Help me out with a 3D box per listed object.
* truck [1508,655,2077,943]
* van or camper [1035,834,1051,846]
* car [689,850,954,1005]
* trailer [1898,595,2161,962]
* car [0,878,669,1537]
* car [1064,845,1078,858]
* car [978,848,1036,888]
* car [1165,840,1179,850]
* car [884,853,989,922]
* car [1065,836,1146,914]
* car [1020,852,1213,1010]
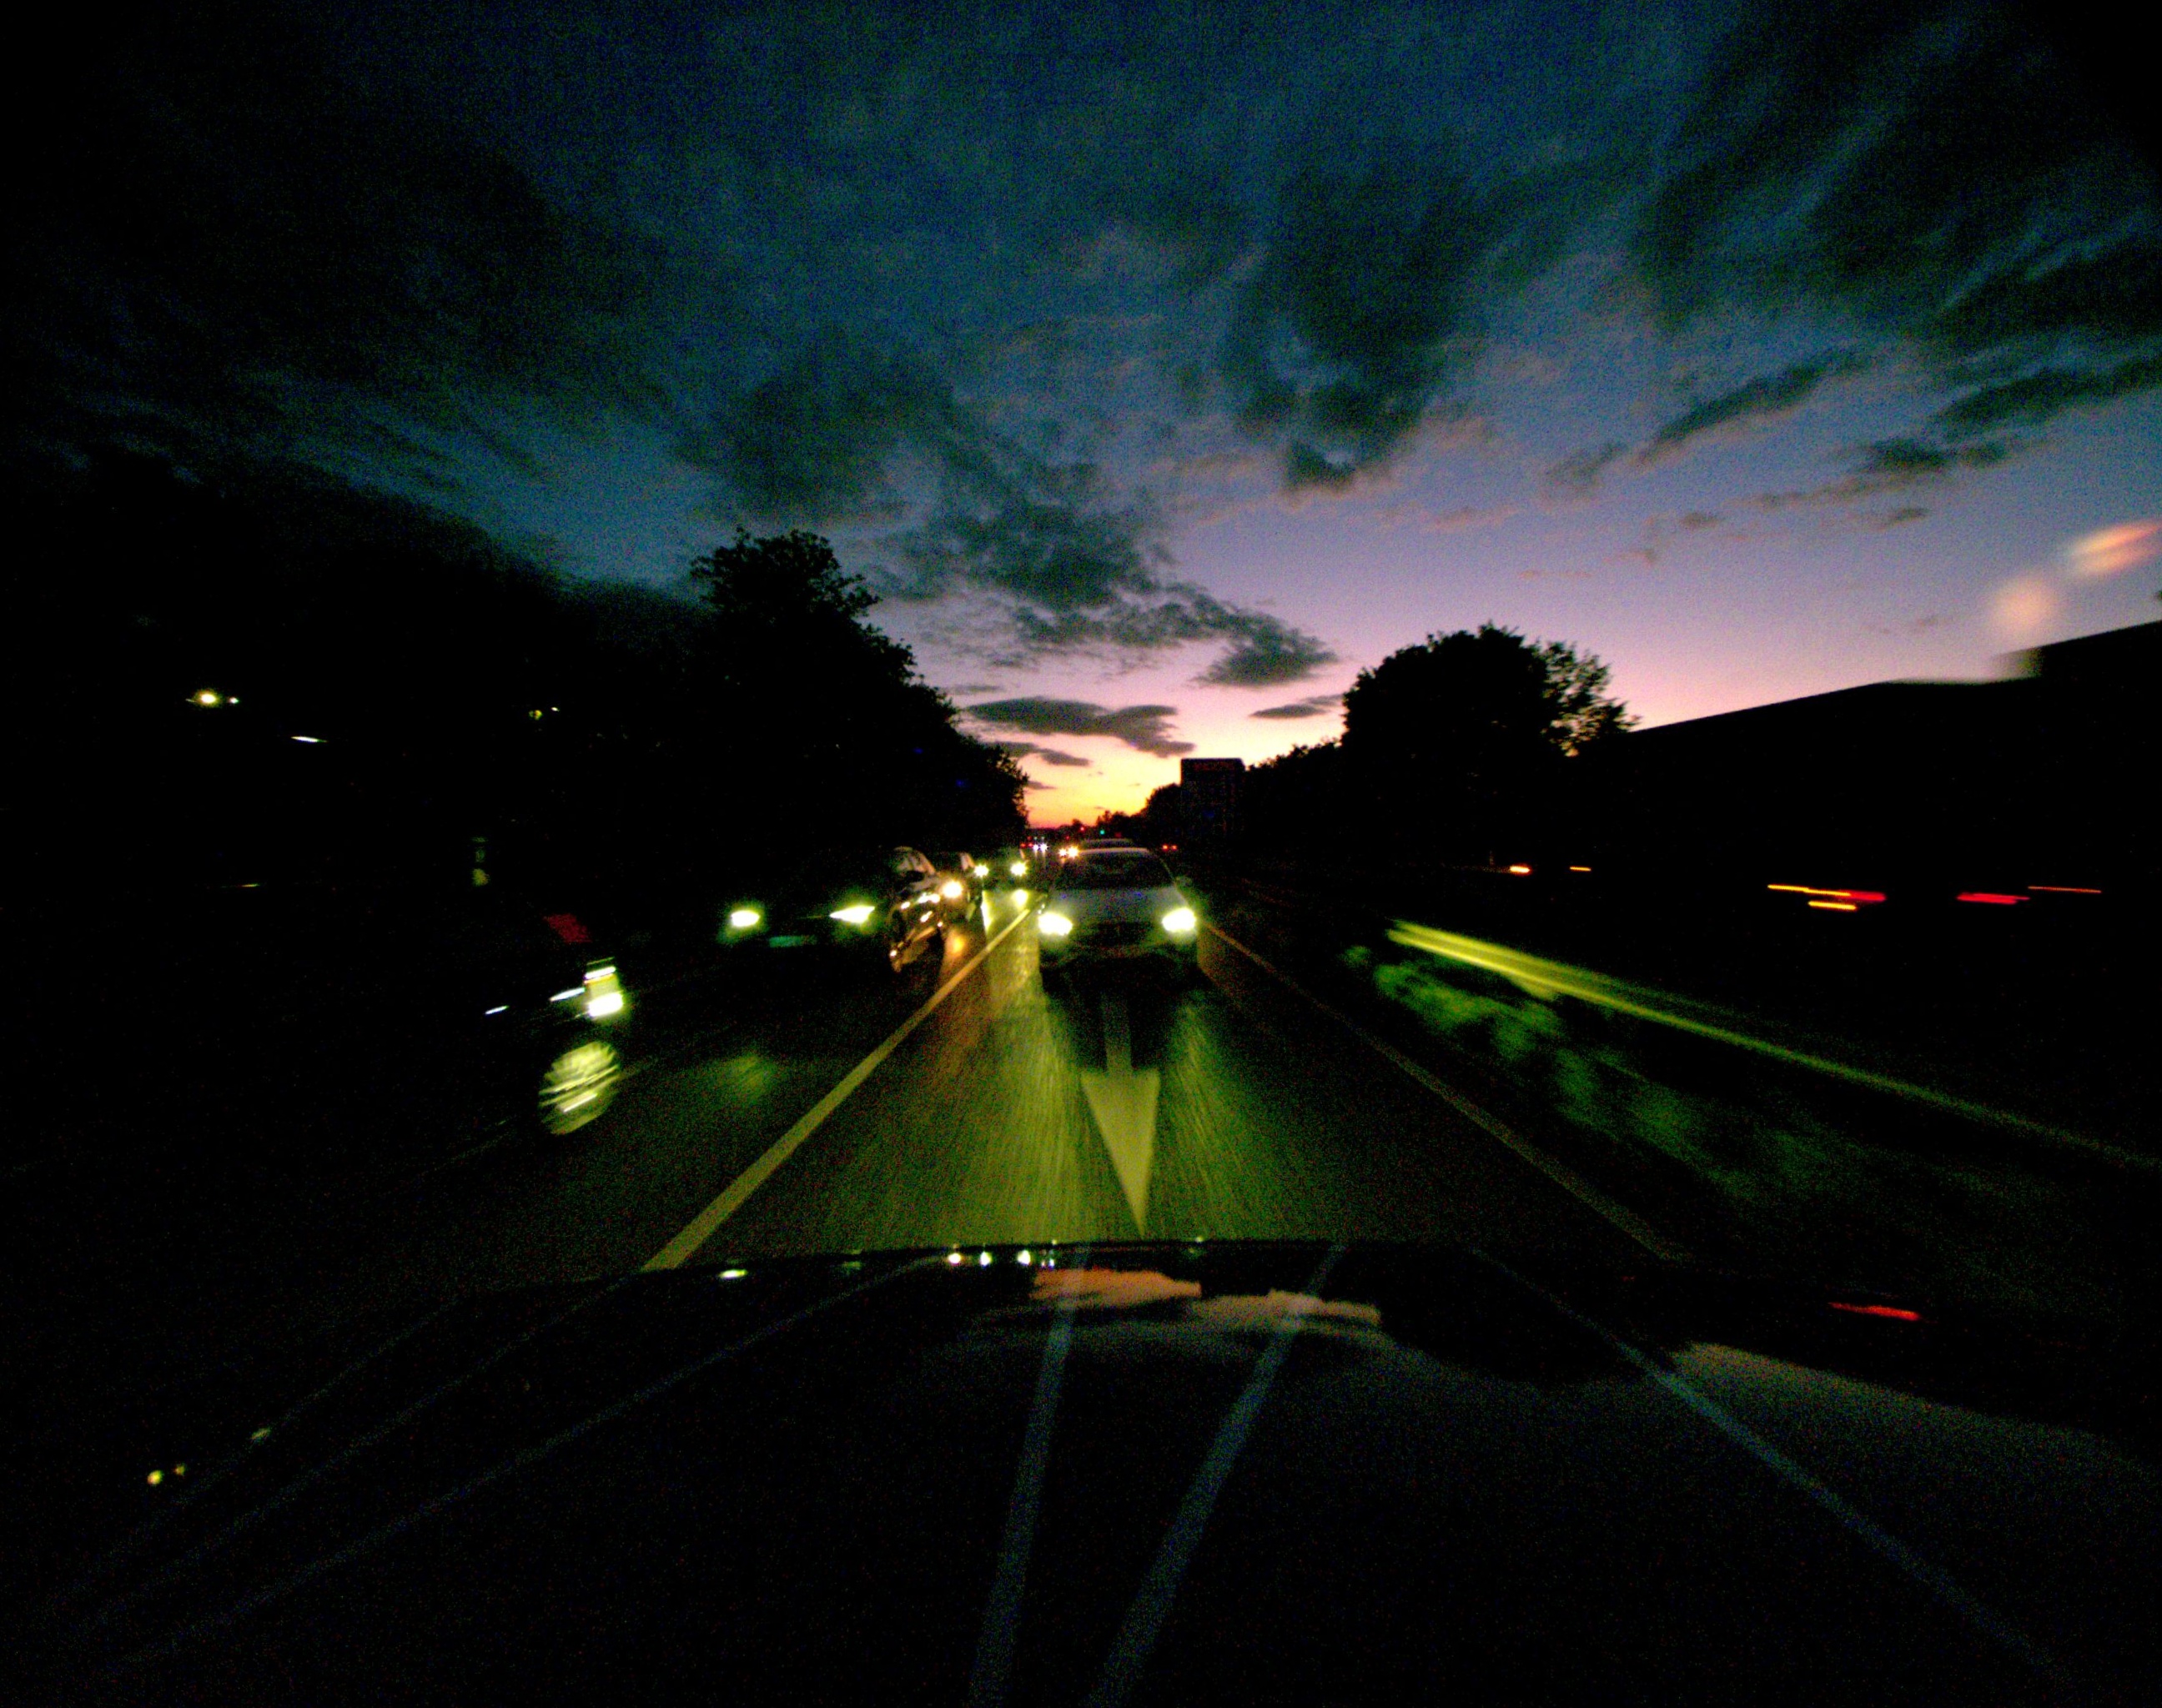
[{"bbox_3d":[13.184,-0.920,16.180,2.732,4.094,10.344,-1,2,2],"label":"truck"},{"bbox_3d":[-10.233,-3.725,205.939,3.950,3.107,9.938,0,1,-1],"label":"van or camper"},{"bbox_3d":[-3.154,0.782,10.317,1.901,1.548,4.300,-3,0,2],"label":"car"},{"bbox_3d":[12.699,-0.776,6.332,2.582,3.921,8.878,0,1,4],"label":"trailer"},{"bbox_3d":[-3.536,0.988,2.931,1.663,1.528,3.715,-4,0,2],"label":"car"},{"bbox_3d":[-1.215,-0.320,89.261,1.606,1.291,3.551,-3,2,-1],"label":"car"},{"bbox_3d":[-2.900,0.499,30.534,1.819,1.360,3.999,-3,2,1],"label":"car"},{"bbox_3d":[14.294,-1.472,119.789,1.633,1.496,4.590,0,1,-1],"label":"car"},{"bbox_3d":[-3.309,0.711,18.035,1.621,1.405,3.755,-2,1,2],"label":"car"},{"bbox_3d":[0.617,0.456,19.300,1.760,1.692,4.249,-2,0,2],"label":"car"},{"bbox_3d":[0.425,0.760,9.801,1.819,1.428,4.646,-3,0,2],"label":"car"}]
